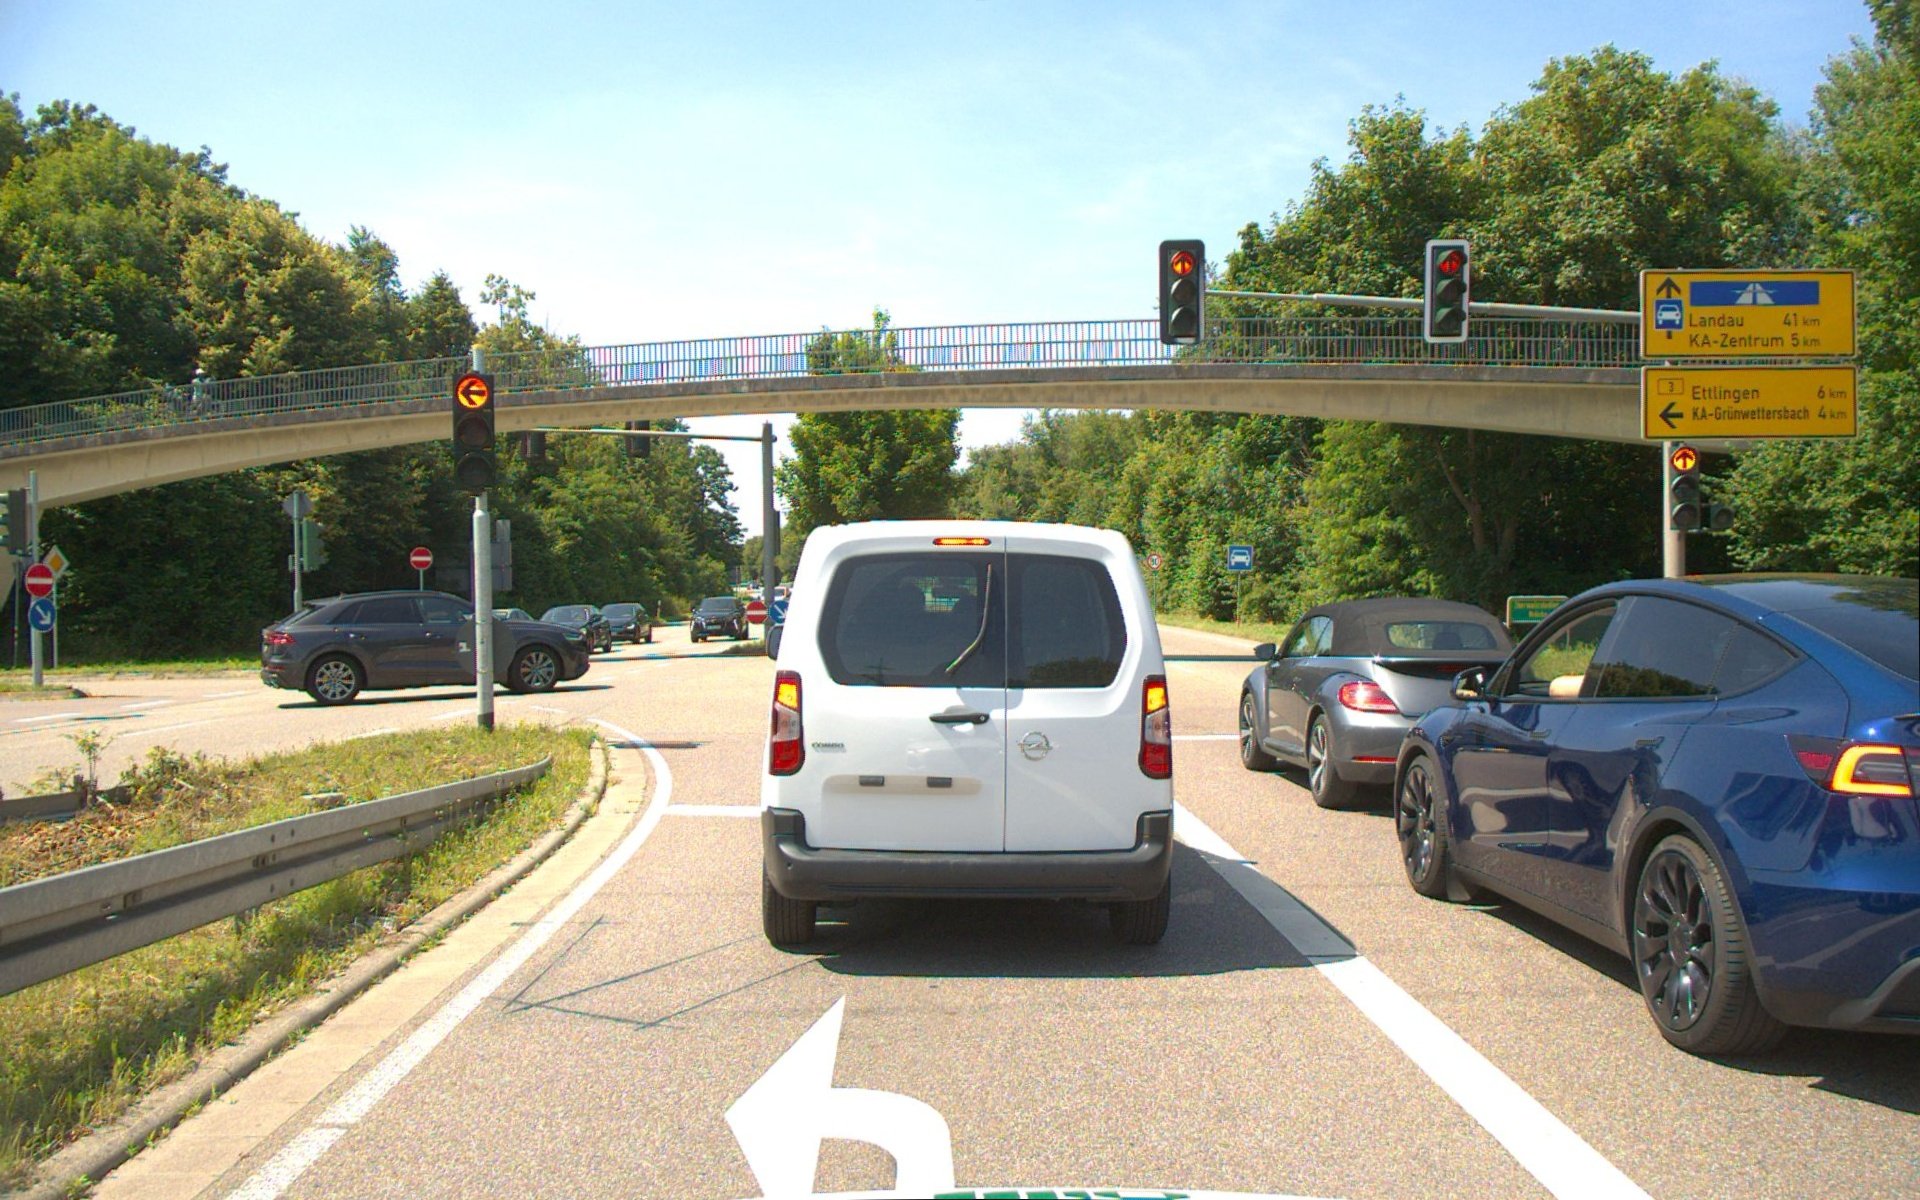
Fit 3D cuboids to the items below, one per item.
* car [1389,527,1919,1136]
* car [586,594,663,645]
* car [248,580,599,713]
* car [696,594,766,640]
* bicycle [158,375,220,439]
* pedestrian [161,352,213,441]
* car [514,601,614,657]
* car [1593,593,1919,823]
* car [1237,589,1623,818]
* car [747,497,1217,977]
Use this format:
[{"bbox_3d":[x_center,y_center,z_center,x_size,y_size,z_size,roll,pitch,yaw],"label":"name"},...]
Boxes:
[{"bbox_3d":[3.326,0.633,6.831,1.862,1.673,4.519,1,0,-1],"label":"car"},{"bbox_3d":[-12.004,0.668,59.382,1.953,1.694,3.999,-1,0,-1],"label":"car"},{"bbox_3d":[-8.399,0.673,25.947,5.006,1.728,2.032,-3,0,-25],"label":"car"},{"bbox_3d":[-8.137,0.584,59.104,1.953,1.550,4.027,2,0,-1],"label":"car"},{"bbox_3d":[-20.052,-5.007,43.019,1.494,1.500,0.470,-3,-2,15],"label":"bicycle"},{"bbox_3d":[-20.260,-5.322,43.352,0.765,2.177,0.932,-3,-2,15],"label":"pedestrian"},{"bbox_3d":[-11.631,0.830,48.829,1.967,1.486,4.054,-2,0,-1],"label":"car"},{"bbox_3d":[6.830,0.717,13.143,1.862,1.503,4.379,1,0,-1],"label":"car"},{"bbox_3d":[3.478,0.682,13.037,1.862,1.503,3.938,1,0,-1],"label":"car"},{"bbox_3d":[0.032,0.507,8.445,1.812,1.857,3.980,1,1,-2],"label":"car"}]
